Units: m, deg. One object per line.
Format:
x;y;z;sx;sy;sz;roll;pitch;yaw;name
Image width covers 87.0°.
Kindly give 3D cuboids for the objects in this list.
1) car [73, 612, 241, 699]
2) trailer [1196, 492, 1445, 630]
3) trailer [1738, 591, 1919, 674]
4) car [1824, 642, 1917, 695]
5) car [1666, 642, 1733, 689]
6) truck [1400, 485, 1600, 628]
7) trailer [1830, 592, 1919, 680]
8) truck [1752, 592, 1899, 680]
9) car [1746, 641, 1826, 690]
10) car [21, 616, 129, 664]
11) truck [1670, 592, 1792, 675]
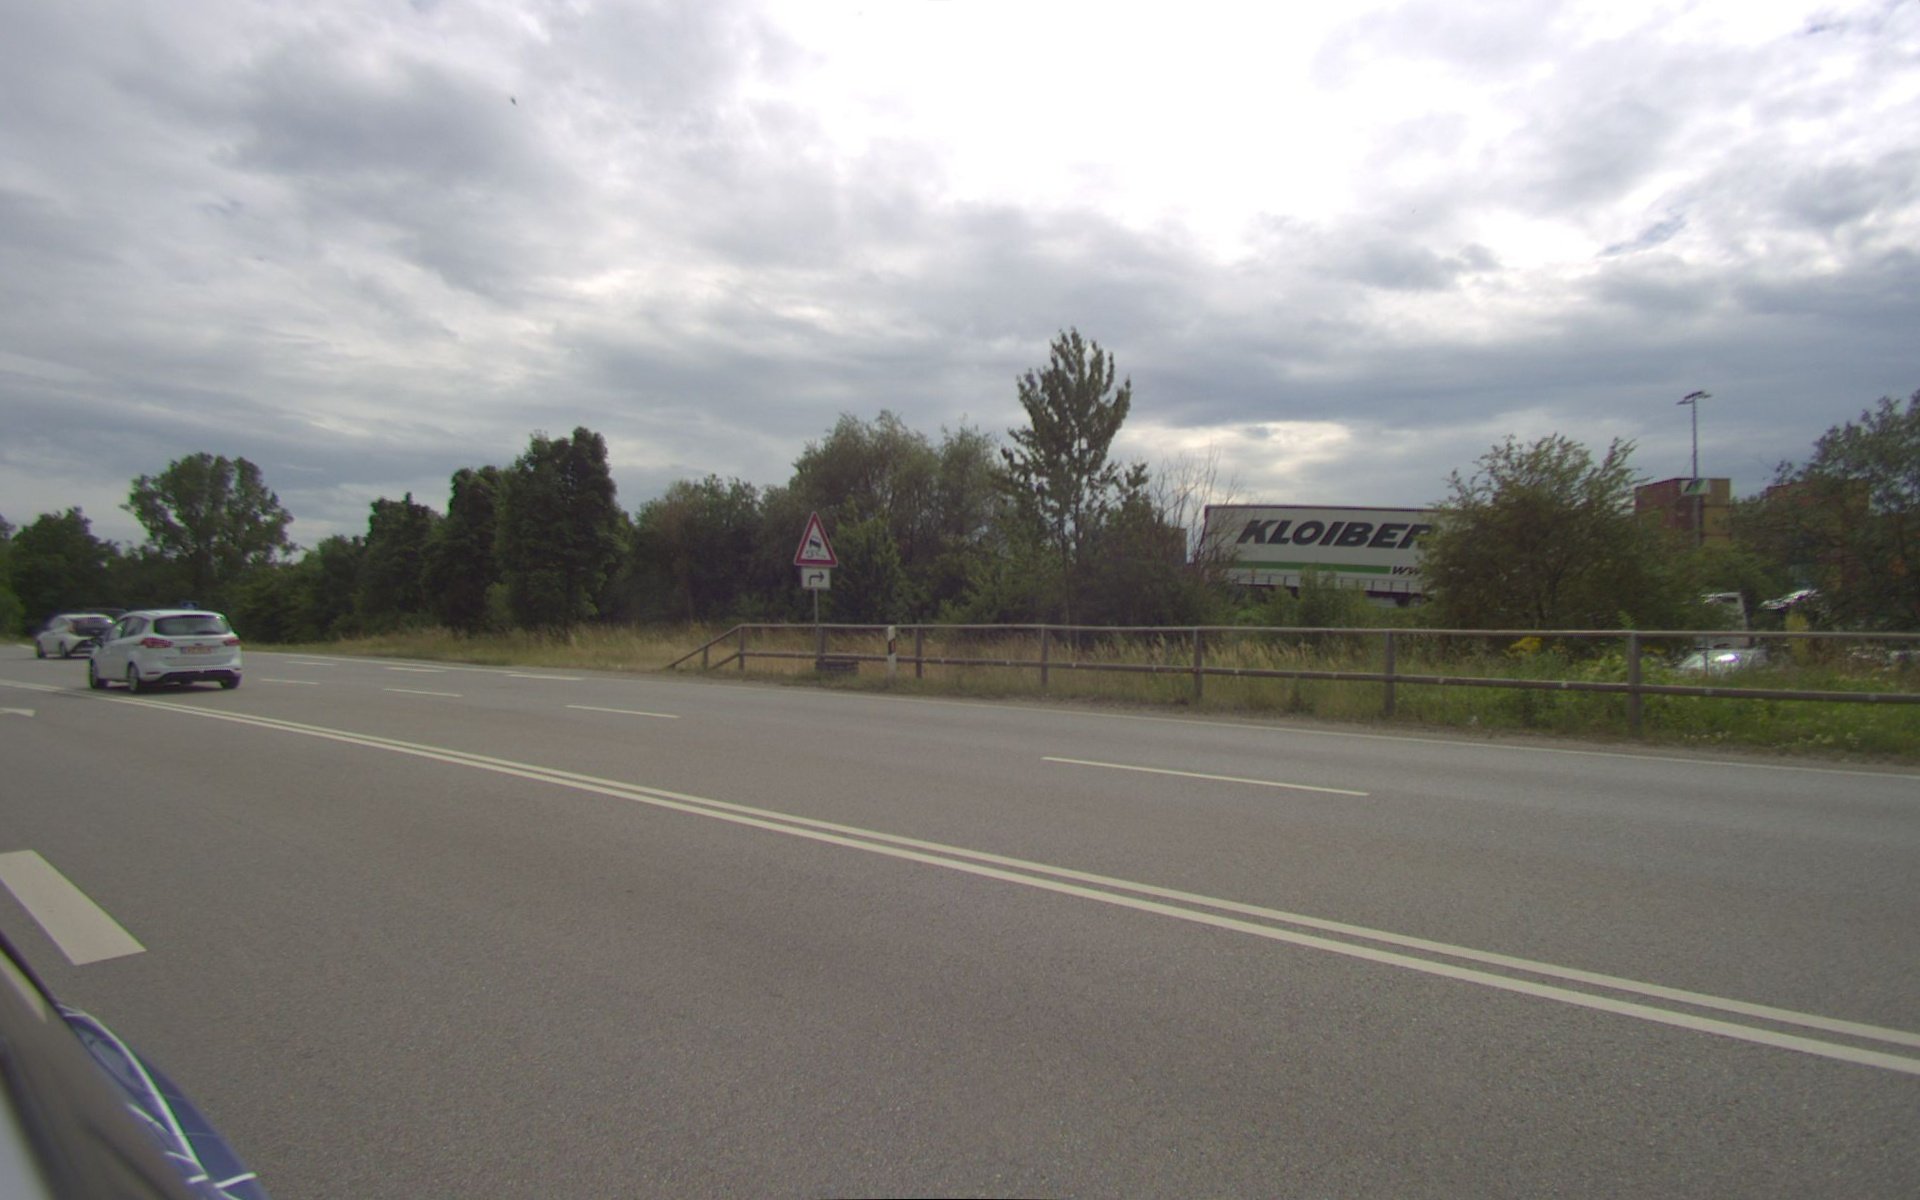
-15.976;1.032;20.084;3.994;1.529;1.714;-1;0;38;car
14.056;-1.402;40.150;8.911;5.034;2.790;-1;-1;18;trailer
47.433;1.760;54.917;8.385;4.325;2.197;-1;-1;2;trailer
34.378;2.536;38.314;1.837;1.732;3.958;-1;-1;31;car
30.991;2.707;42.501;1.837;1.732;3.958;-1;-1;31;car
20.107;-1.515;38.101;6.139;5.034;2.788;-1;-1;18;truck
49.688;1.747;51.082;9.251;4.325;2.197;-1;-1;2;trailer
43.778;1.803;51.301;5.357;4.325;2.197;-1;-1;2;truck
32.773;2.545;40.246;1.837;1.732;3.958;-1;-1;31;car
-29.738;1.305;33.994;3.734;1.500;1.861;-1;-1;34;car
41.907;1.812;55.107;4.789;4.325;2.197;-1;-1;2;truck
